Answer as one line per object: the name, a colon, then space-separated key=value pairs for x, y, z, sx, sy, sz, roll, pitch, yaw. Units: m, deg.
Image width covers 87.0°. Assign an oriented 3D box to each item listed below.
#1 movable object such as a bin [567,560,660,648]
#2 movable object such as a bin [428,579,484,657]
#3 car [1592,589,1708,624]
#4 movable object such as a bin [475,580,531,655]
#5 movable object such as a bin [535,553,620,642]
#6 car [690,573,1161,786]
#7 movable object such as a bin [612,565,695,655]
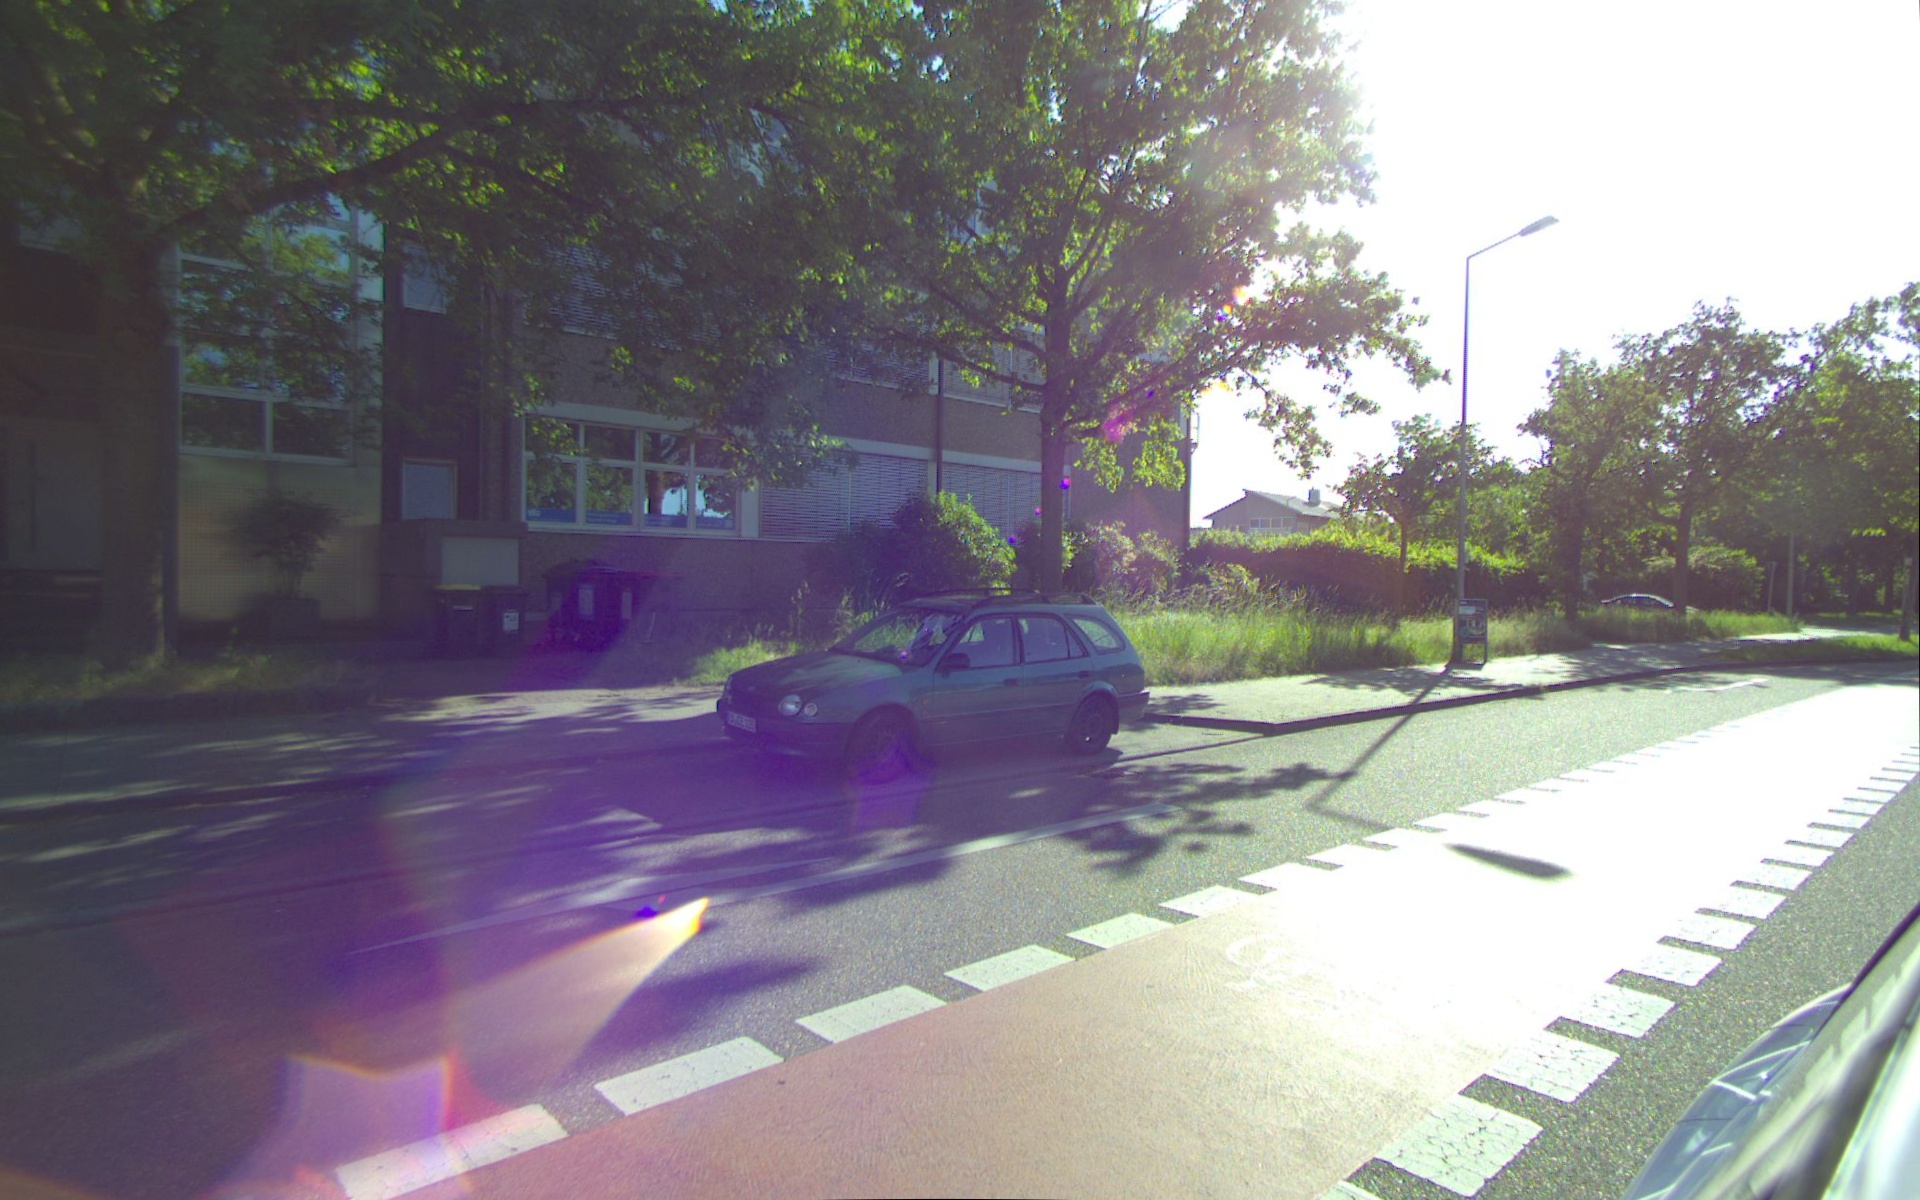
movable object such as a bin: x=-5.778 y=0.043 z=16.860 sx=1.070 sy=1.388 sz=1.186 roll=0 pitch=2 yaw=-43
movable object such as a bin: x=-7.221 y=0.246 z=14.496 sx=0.575 sy=1.070 sz=0.625 roll=0 pitch=1 yaw=-42
car: x=35.060 y=0.295 z=51.535 sx=1.859 sy=1.538 sz=4.495 roll=0 pitch=2 yaw=-29
movable object such as a bin: x=-6.765 y=0.241 z=14.977 sx=0.604 sy=1.075 sz=0.634 roll=0 pitch=1 yaw=-42
movable object such as a bin: x=-6.787 y=-0.073 z=17.940 sx=1.024 sy=1.501 sz=1.309 roll=0 pitch=2 yaw=-41
car: x=-0.151 y=0.577 z=9.132 sx=4.068 sy=1.487 sz=1.705 roll=1 pitch=1 yaw=-41
movable object such as a bin: x=-4.787 y=0.126 z=15.773 sx=0.878 sy=1.323 sz=1.186 roll=0 pitch=2 yaw=-37
